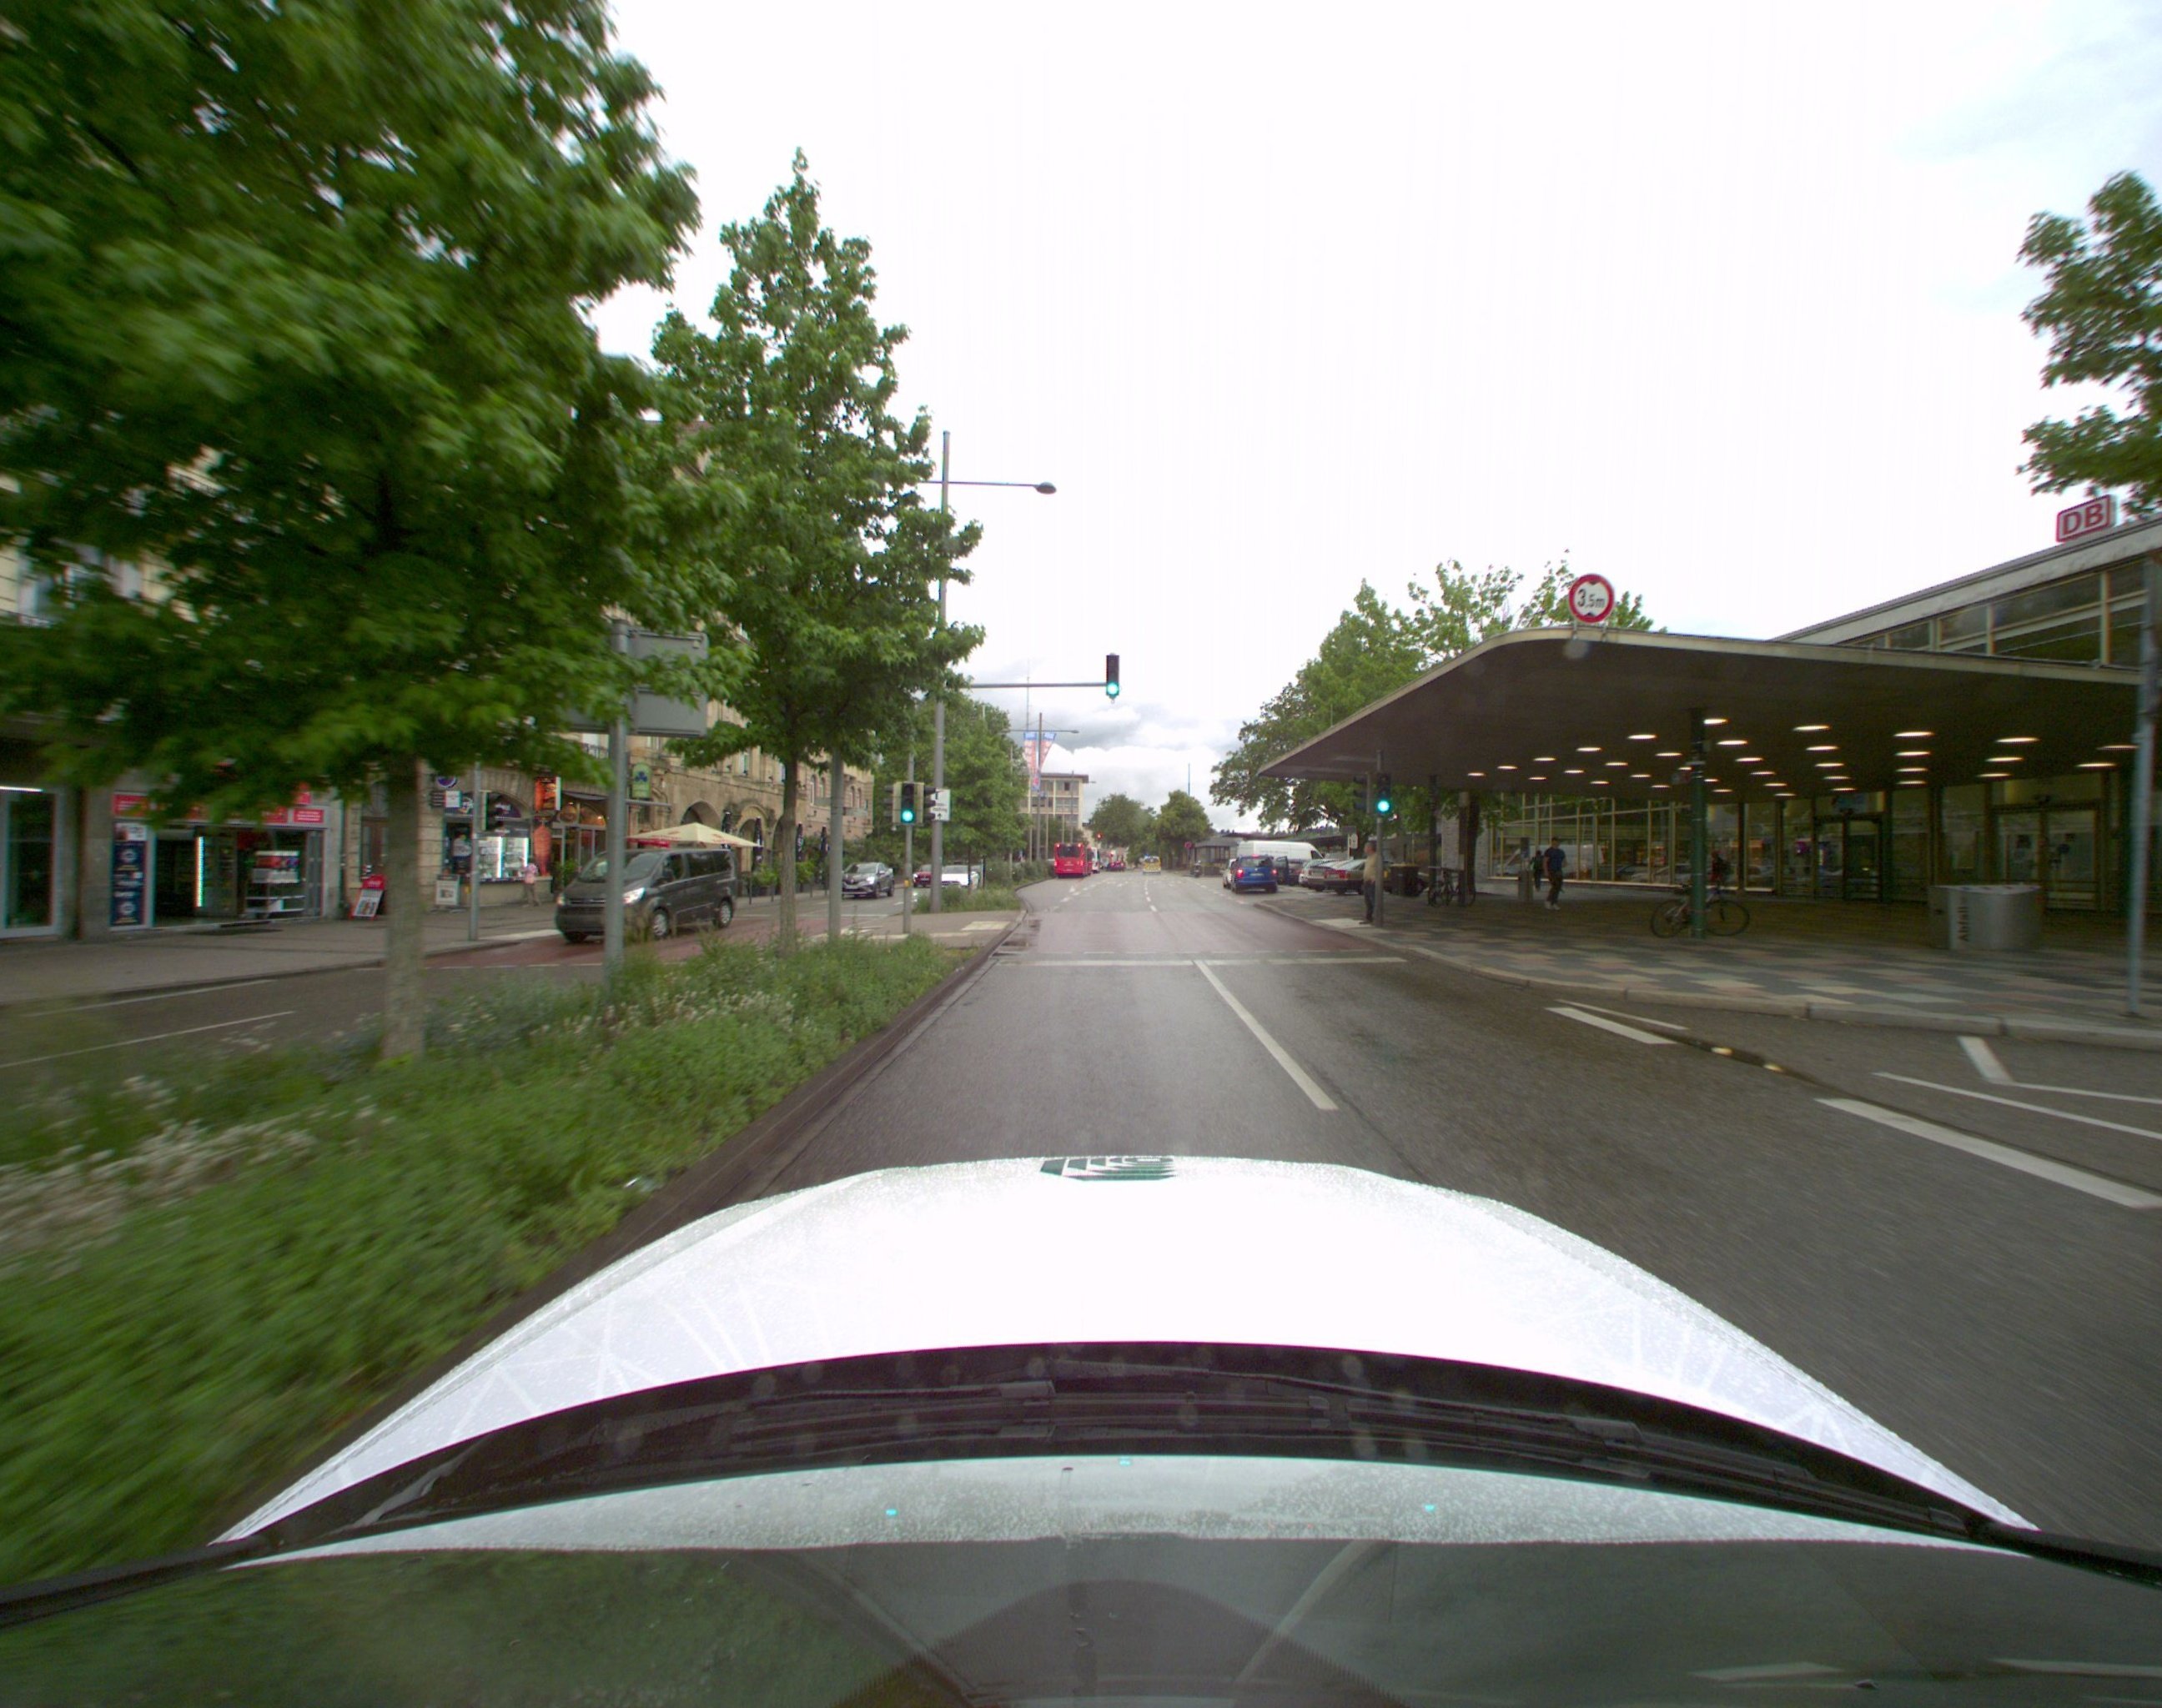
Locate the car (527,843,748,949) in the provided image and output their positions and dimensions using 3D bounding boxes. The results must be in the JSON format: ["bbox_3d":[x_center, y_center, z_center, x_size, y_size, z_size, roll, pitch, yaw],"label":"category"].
[{"bbox_3d":[-9.791,0.853,18.570,1.985,2.014,5.005,-2,-1,3],"label":"car"}]

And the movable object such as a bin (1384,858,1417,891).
[{"bbox_3d":[11.072,0.711,28.273,0.751,1.095,0.746,-2,-1,-10],"label":"movable object such as a bin"}]

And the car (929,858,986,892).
[{"bbox_3d":[-6.222,1.042,41.618,1.986,1.543,4.635,-2,-1,2],"label":"car"}]

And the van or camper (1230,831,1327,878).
[{"bbox_3d":[12.800,0.010,52.590,5.977,2.763,2.180,-2,-1,-26],"label":"van or camper"}]

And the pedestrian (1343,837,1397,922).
[{"bbox_3d":[6.128,0.528,17.299,0.745,1.747,0.834,-1,-1,-6],"label":"pedestrian"}]

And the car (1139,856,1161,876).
[{"bbox_3d":[7.323,1.246,86.945,1.986,2.014,5.063,-2,-1,2],"label":"car"}]

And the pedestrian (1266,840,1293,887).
[{"bbox_3d":[8.704,0.431,35.751,0.829,2.014,0.888,-2,-1,-3],"label":"pedestrian"}]

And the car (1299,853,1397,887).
[{"bbox_3d":[11.766,0.696,35.797,4.011,1.359,1.847,-1,-1,-29],"label":"car"}]

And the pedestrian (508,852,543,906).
[{"bbox_3d":[-17.245,0.778,25.284,0.666,1.664,0.535,1,-1,-7],"label":"pedestrian"}]

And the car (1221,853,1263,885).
[{"bbox_3d":[8.102,0.737,41.295,1.778,1.523,3.688,-1,-1,7],"label":"car"}]

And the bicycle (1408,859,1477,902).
[{"bbox_3d":[9.697,0.706,21.830,1.831,1.056,0.418,-2,-1,-17],"label":"bicycle"}]

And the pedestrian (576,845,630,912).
[{"bbox_3d":[-13.854,0.710,23.618,0.876,1.812,0.751,-8,-1,1],"label":"pedestrian"}]

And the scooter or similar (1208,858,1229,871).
[{"bbox_3d":[12.150,0.935,71.844,2.161,1.110,0.438,-2,0,-38],"label":"scooter or similar"}]

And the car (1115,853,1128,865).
[{"bbox_3d":[6.890,0.882,138.576,1.986,2.014,4.002,-2,-1,2],"label":"car"}]

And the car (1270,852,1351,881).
[{"bbox_3d":[12.481,0.678,44.334,4.006,1.443,1.849,-1,-1,-25],"label":"car"}]

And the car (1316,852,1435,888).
[{"bbox_3d":[11.613,0.611,32.133,4.197,1.325,1.829,-1,-1,-18],"label":"car"}]

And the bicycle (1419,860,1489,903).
[{"bbox_3d":[9.793,0.710,21.380,1.831,1.056,0.418,-2,-1,-17],"label":"bicycle"}]

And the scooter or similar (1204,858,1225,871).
[{"bbox_3d":[11.821,0.954,72.219,2.161,1.110,0.423,-2,0,-38],"label":"scooter or similar"}]

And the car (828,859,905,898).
[{"bbox_3d":[-9.399,1.040,36.106,1.986,1.543,4.635,-2,-1,2],"label":"car"}]

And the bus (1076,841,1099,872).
[{"bbox_3d":[0.815,0.382,103.975,2.796,3.747,10.444,0,-1,0],"label":"bus"}]

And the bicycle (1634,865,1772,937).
[{"bbox_3d":[9.891,0.742,12.974,1.821,1.056,0.420,-2,-1,1],"label":"bicycle"}]

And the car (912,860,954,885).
[{"bbox_3d":[-9.325,1.134,51.464,1.740,1.430,3.955,-2,-1,2],"label":"car"}]

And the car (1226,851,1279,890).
[{"bbox_3d":[7.376,0.706,35.352,1.849,1.569,4.006,-1,-1,6],"label":"car"}]

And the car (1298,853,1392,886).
[{"bbox_3d":[12.450,0.699,38.426,4.006,1.443,1.849,-1,-1,-25],"label":"car"}]

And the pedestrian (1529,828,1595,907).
[{"bbox_3d":[11.580,0.326,19.655,0.853,1.835,1.190,-2,-1,1],"label":"pedestrian"}]

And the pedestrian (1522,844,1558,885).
[{"bbox_3d":[17.838,0.406,31.669,0.864,1.559,0.813,-2,-1,-5],"label":"pedestrian"}]

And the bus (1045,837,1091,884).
[{"bbox_3d":[-1.069,0.583,77.201,3.531,3.979,11.177,-2,-1,2],"label":"bus"}]

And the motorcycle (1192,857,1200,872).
[{"bbox_3d":[9.842,0.897,69.548,0.592,1.288,1.957,-2,0,8],"label":"motorcycle"}]

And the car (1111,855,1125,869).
[{"bbox_3d":[5.642,1.176,123.039,1.986,2.014,4.002,-2,-1,2],"label":"car"}]

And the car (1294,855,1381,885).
[{"bbox_3d":[13.131,0.796,41.679,4.006,1.443,1.849,-1,-1,-25],"label":"car"}]

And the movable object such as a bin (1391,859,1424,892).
[{"bbox_3d":[10.913,0.702,27.238,0.750,1.067,0.747,-2,-1,-7],"label":"movable object such as a bin"}]
